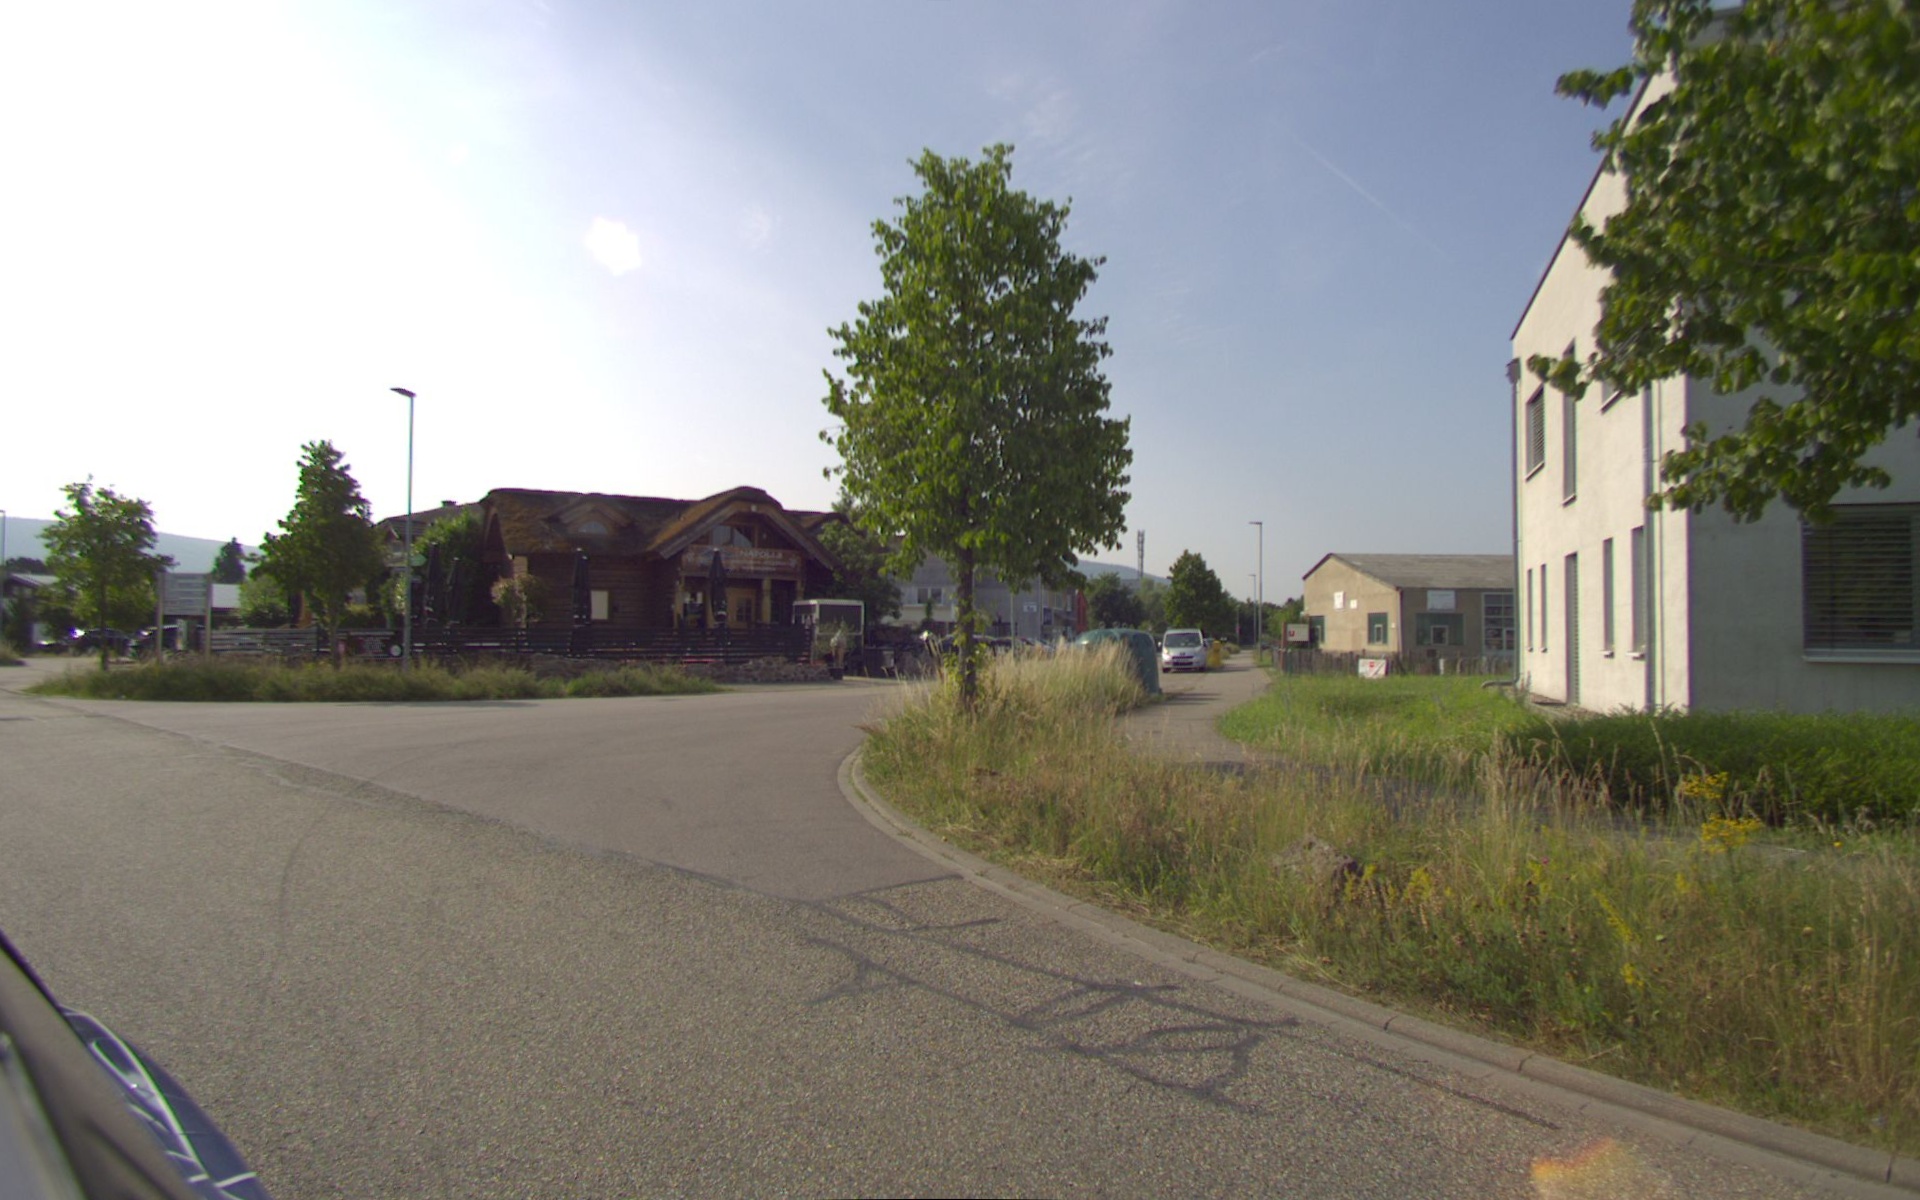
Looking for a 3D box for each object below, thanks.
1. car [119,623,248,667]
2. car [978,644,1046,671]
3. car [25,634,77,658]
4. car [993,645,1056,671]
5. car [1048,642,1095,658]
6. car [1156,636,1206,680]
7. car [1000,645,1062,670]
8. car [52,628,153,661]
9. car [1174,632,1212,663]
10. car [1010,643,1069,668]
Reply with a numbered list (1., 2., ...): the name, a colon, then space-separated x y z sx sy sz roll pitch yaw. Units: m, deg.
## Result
1. car: -32.432 1.873 42.343 1.999 1.741 3.945 -2 -3 41
2. car: 3.473 3.821 67.348 4.131 1.748 1.988 -1 -2 19
3. car: -57.413 2.893 63.886 3.541 1.492 1.596 -1 -2 34
4. car: 4.403 3.973 69.377 3.968 1.710 1.988 -1 -2 19
5. car: 10.017 4.498 90.755 4.028 1.378 1.753 -1 -2 16
6. car: 9.855 2.529 44.908 2.004 1.838 4.865 -1 -2 14
7. car: 5.023 4.055 71.543 3.968 1.671 1.988 -1 -2 19
8. car: -49.155 2.526 58.087 1.984 1.807 3.974 -1 -2 19
9. car: 13.438 2.691 58.226 1.981 1.741 3.981 -1 -2 14
10. car: 5.796 4.046 73.717 3.968 1.744 1.988 -1 -2 19
